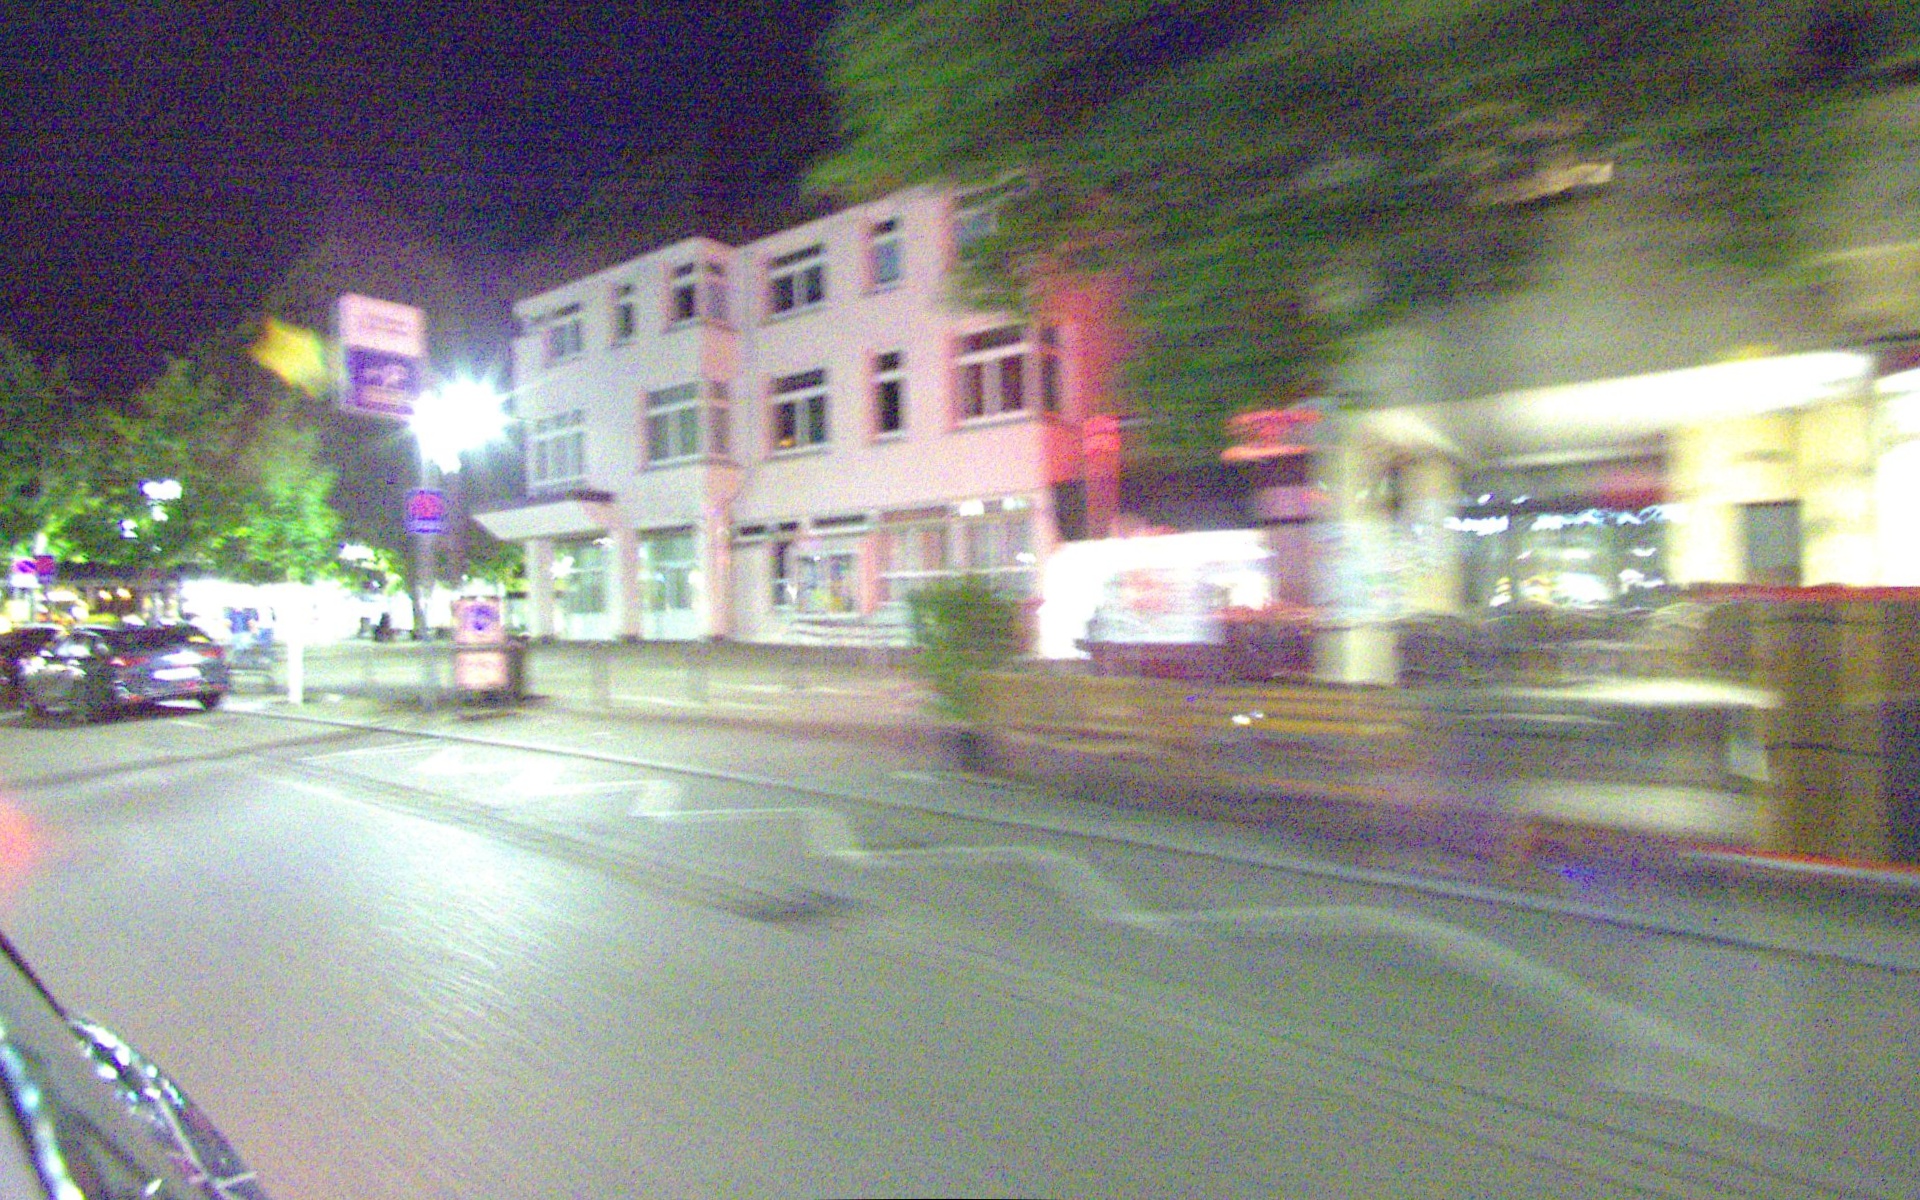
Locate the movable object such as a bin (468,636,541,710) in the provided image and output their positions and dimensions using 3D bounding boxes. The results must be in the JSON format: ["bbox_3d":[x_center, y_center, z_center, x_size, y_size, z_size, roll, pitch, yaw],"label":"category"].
[{"bbox_3d":[-7.122,1.120,15.834,0.790,1.073,0.741,0,0,34],"label":"movable object such as a bin"}]

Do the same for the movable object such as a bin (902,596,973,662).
[{"bbox_3d":[-0.523,0.659,23.494,1.283,1.455,1.027,0,1,35],"label":"movable object such as a bin"}]

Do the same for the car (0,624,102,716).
[{"bbox_3d":[-18.687,1.313,19.489,4.765,1.553,1.891,-2,0,32],"label":"car"}]

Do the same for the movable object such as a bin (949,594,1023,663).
[{"bbox_3d":[0.593,0.611,22.643,1.225,1.468,1.121,0,1,35],"label":"movable object such as a bin"}]

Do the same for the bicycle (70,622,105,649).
[{"bbox_3d":[-46.480,1.890,53.902,2.406,1.374,0.757,0,0,33],"label":"bicycle"}]

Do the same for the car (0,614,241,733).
[{"bbox_3d":[-13.672,1.106,16.318,4.800,1.650,1.745,-2,-1,33],"label":"car"}]

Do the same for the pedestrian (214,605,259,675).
[{"bbox_3d":[-19.940,1.085,27.904,0.866,1.845,0.793,-3,1,-30],"label":"pedestrian"}]

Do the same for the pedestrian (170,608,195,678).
[{"bbox_3d":[-20.819,1.139,27.102,0.495,1.835,0.504,0,0,-42],"label":"pedestrian"}]

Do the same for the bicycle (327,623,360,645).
[{"bbox_3d":[-39.496,2.159,64.846,2.503,1.374,0.767,0,0,33],"label":"bicycle"}]

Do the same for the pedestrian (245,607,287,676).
[{"bbox_3d":[-19.129,1.130,27.918,0.781,1.831,1.027,-3,1,-29],"label":"pedestrian"}]
